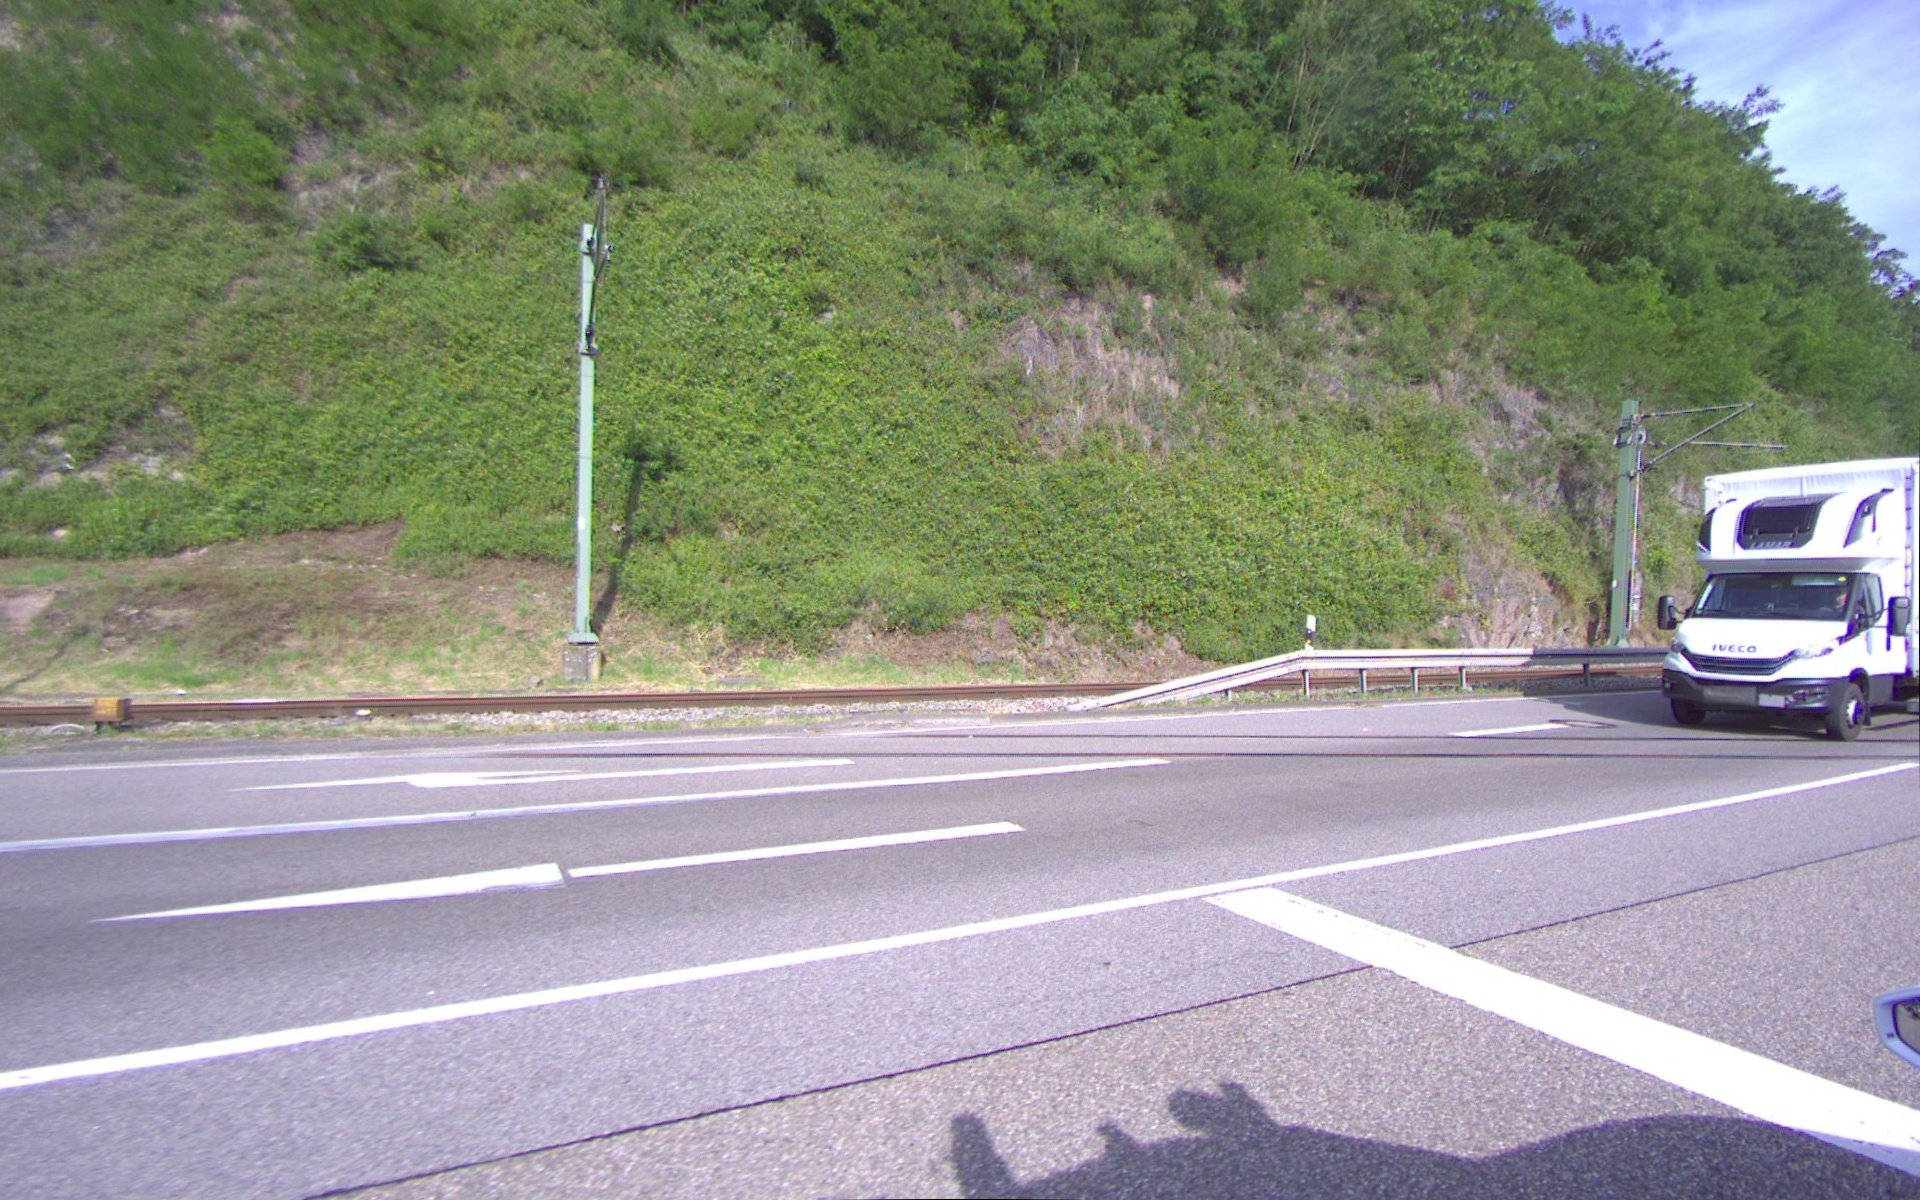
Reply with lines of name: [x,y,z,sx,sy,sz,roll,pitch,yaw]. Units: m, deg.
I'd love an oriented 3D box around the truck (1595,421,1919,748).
truck: [13.537,-0.147,15.378,8.793,3.849,2.882,1,0,-32]
